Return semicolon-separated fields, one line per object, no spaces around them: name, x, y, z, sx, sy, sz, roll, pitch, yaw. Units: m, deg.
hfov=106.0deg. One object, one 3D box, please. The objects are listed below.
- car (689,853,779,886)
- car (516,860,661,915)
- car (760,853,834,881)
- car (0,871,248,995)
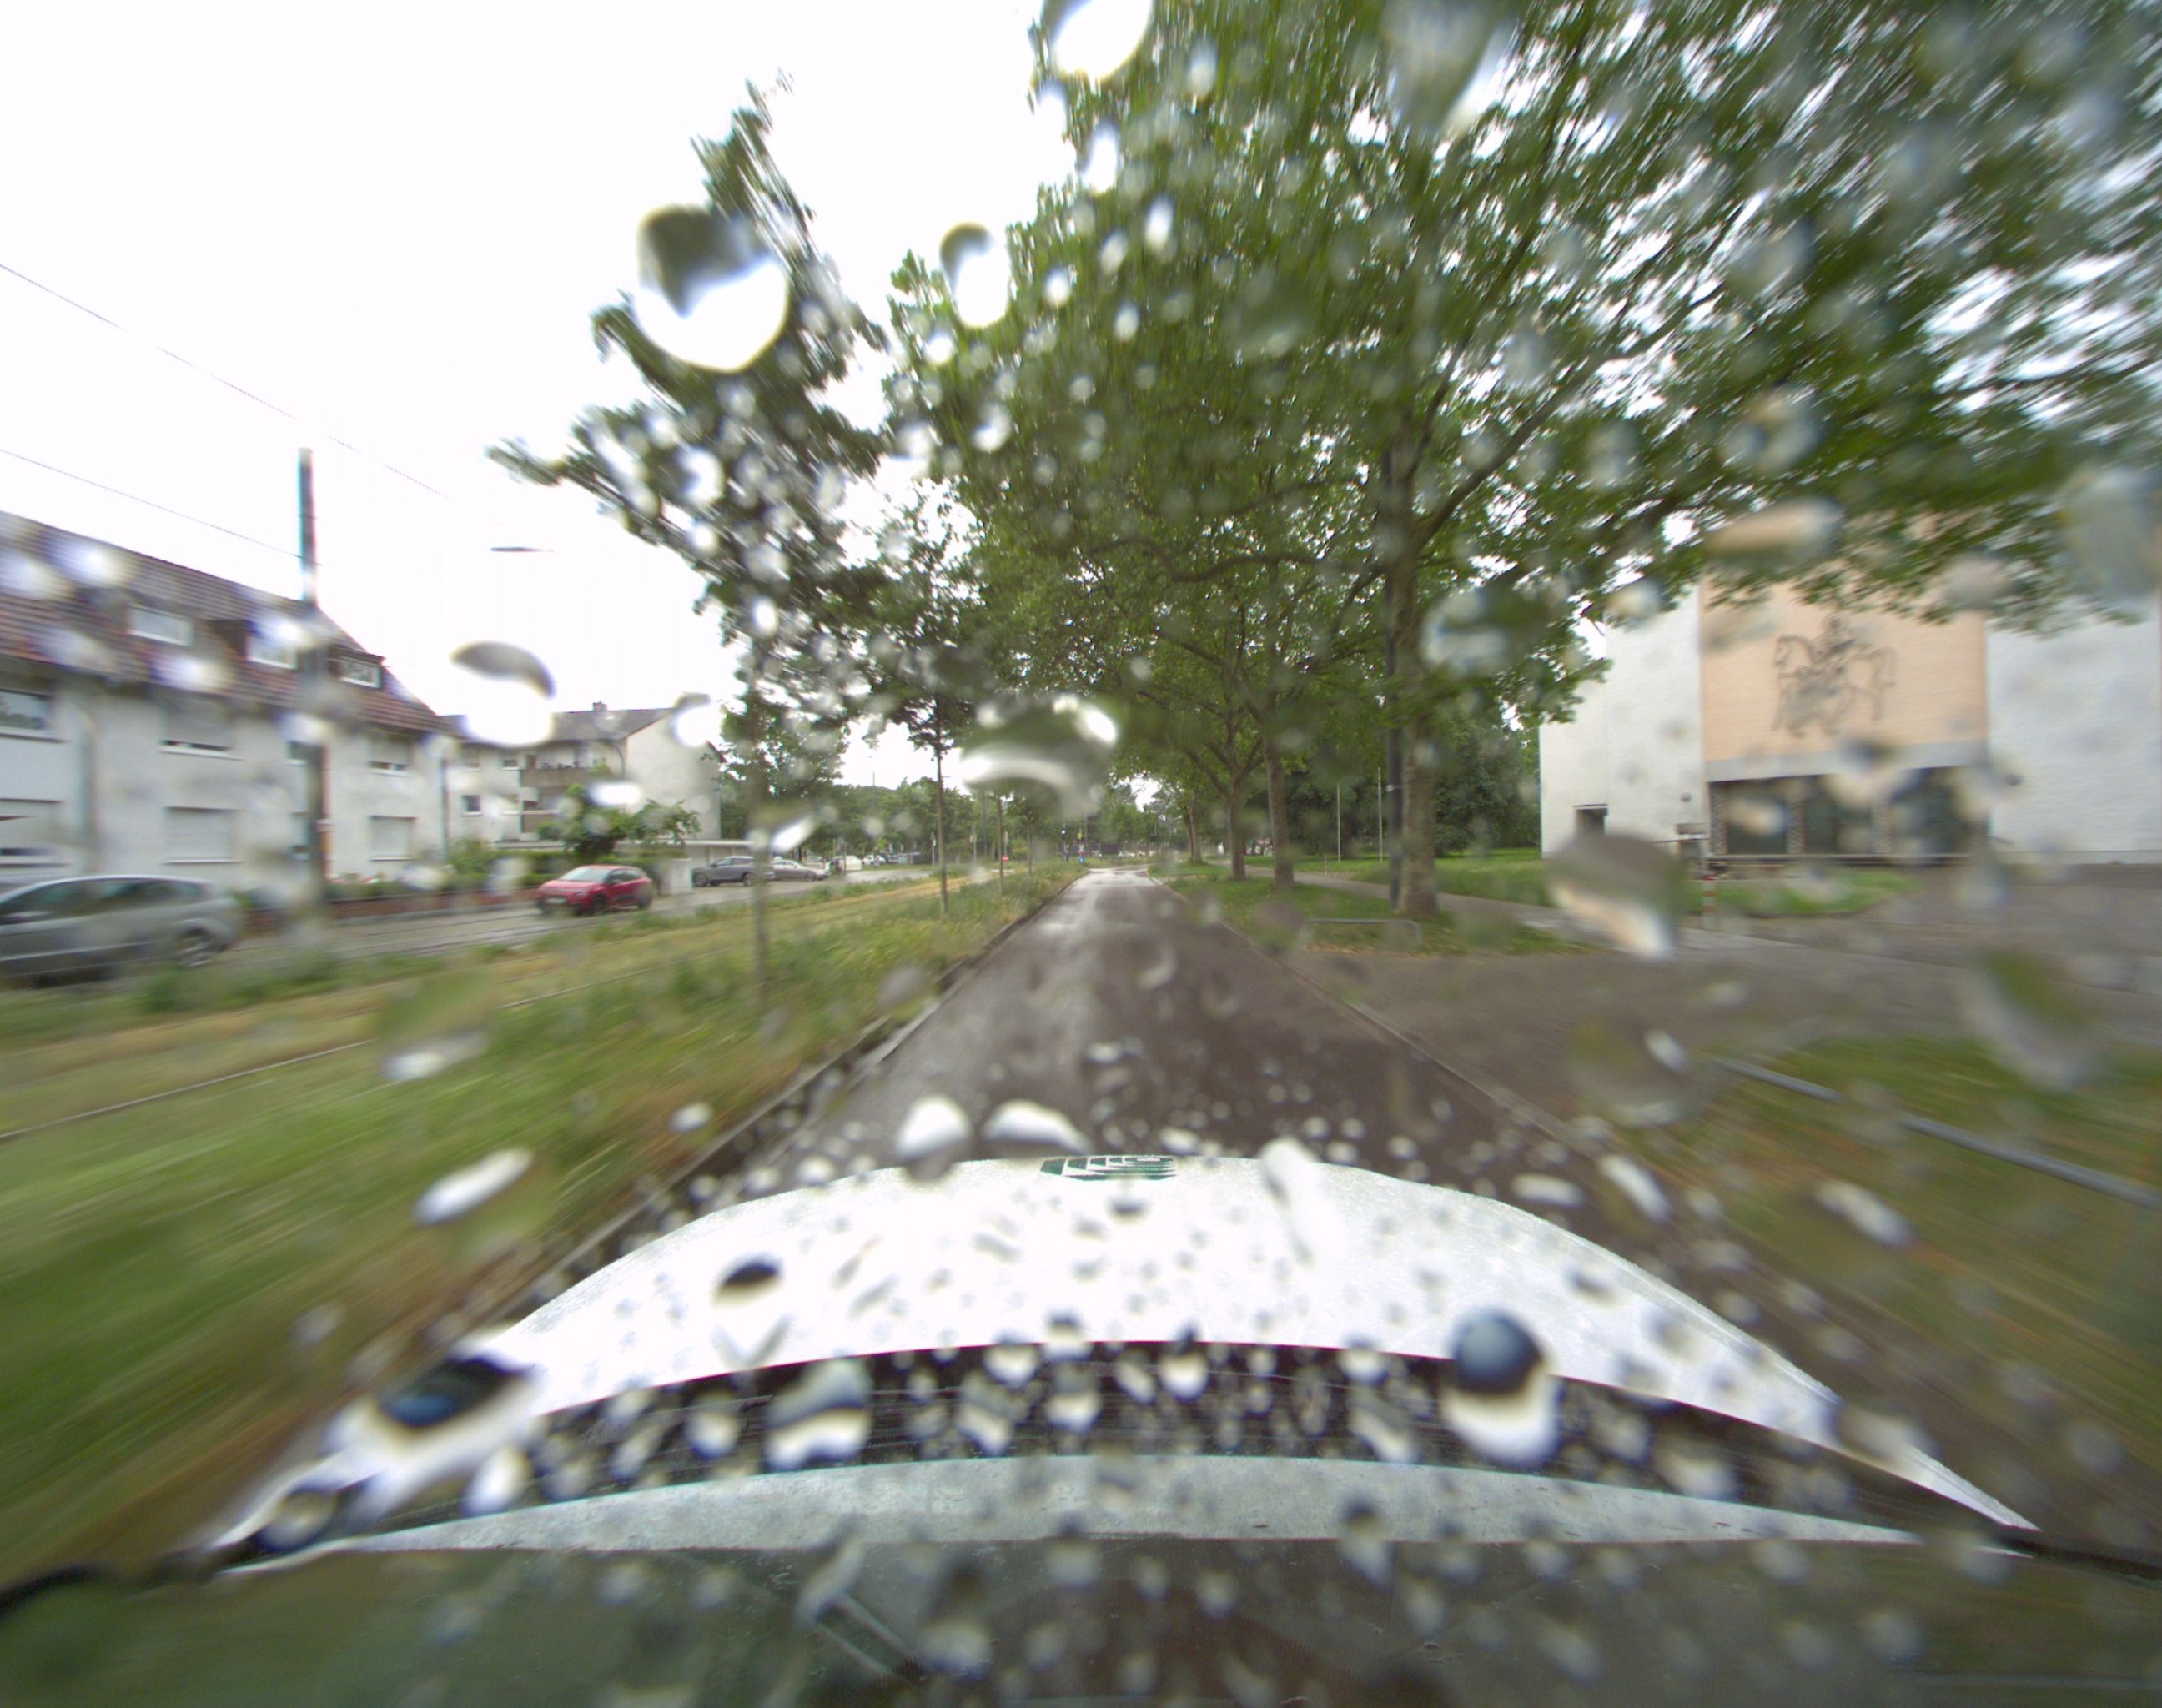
car;-18.871;0.822;44.371;3.976;1.616;1.999;-2;0;-1
car;-15.382;0.987;25.745;1.986;1.488;4.206;0;1;1
car;-18.279;0.821;52.574;3.976;1.616;1.999;-2;0;-1
car;-15.688;1.115;12.018;1.985;1.581;4.521;1;1;4
